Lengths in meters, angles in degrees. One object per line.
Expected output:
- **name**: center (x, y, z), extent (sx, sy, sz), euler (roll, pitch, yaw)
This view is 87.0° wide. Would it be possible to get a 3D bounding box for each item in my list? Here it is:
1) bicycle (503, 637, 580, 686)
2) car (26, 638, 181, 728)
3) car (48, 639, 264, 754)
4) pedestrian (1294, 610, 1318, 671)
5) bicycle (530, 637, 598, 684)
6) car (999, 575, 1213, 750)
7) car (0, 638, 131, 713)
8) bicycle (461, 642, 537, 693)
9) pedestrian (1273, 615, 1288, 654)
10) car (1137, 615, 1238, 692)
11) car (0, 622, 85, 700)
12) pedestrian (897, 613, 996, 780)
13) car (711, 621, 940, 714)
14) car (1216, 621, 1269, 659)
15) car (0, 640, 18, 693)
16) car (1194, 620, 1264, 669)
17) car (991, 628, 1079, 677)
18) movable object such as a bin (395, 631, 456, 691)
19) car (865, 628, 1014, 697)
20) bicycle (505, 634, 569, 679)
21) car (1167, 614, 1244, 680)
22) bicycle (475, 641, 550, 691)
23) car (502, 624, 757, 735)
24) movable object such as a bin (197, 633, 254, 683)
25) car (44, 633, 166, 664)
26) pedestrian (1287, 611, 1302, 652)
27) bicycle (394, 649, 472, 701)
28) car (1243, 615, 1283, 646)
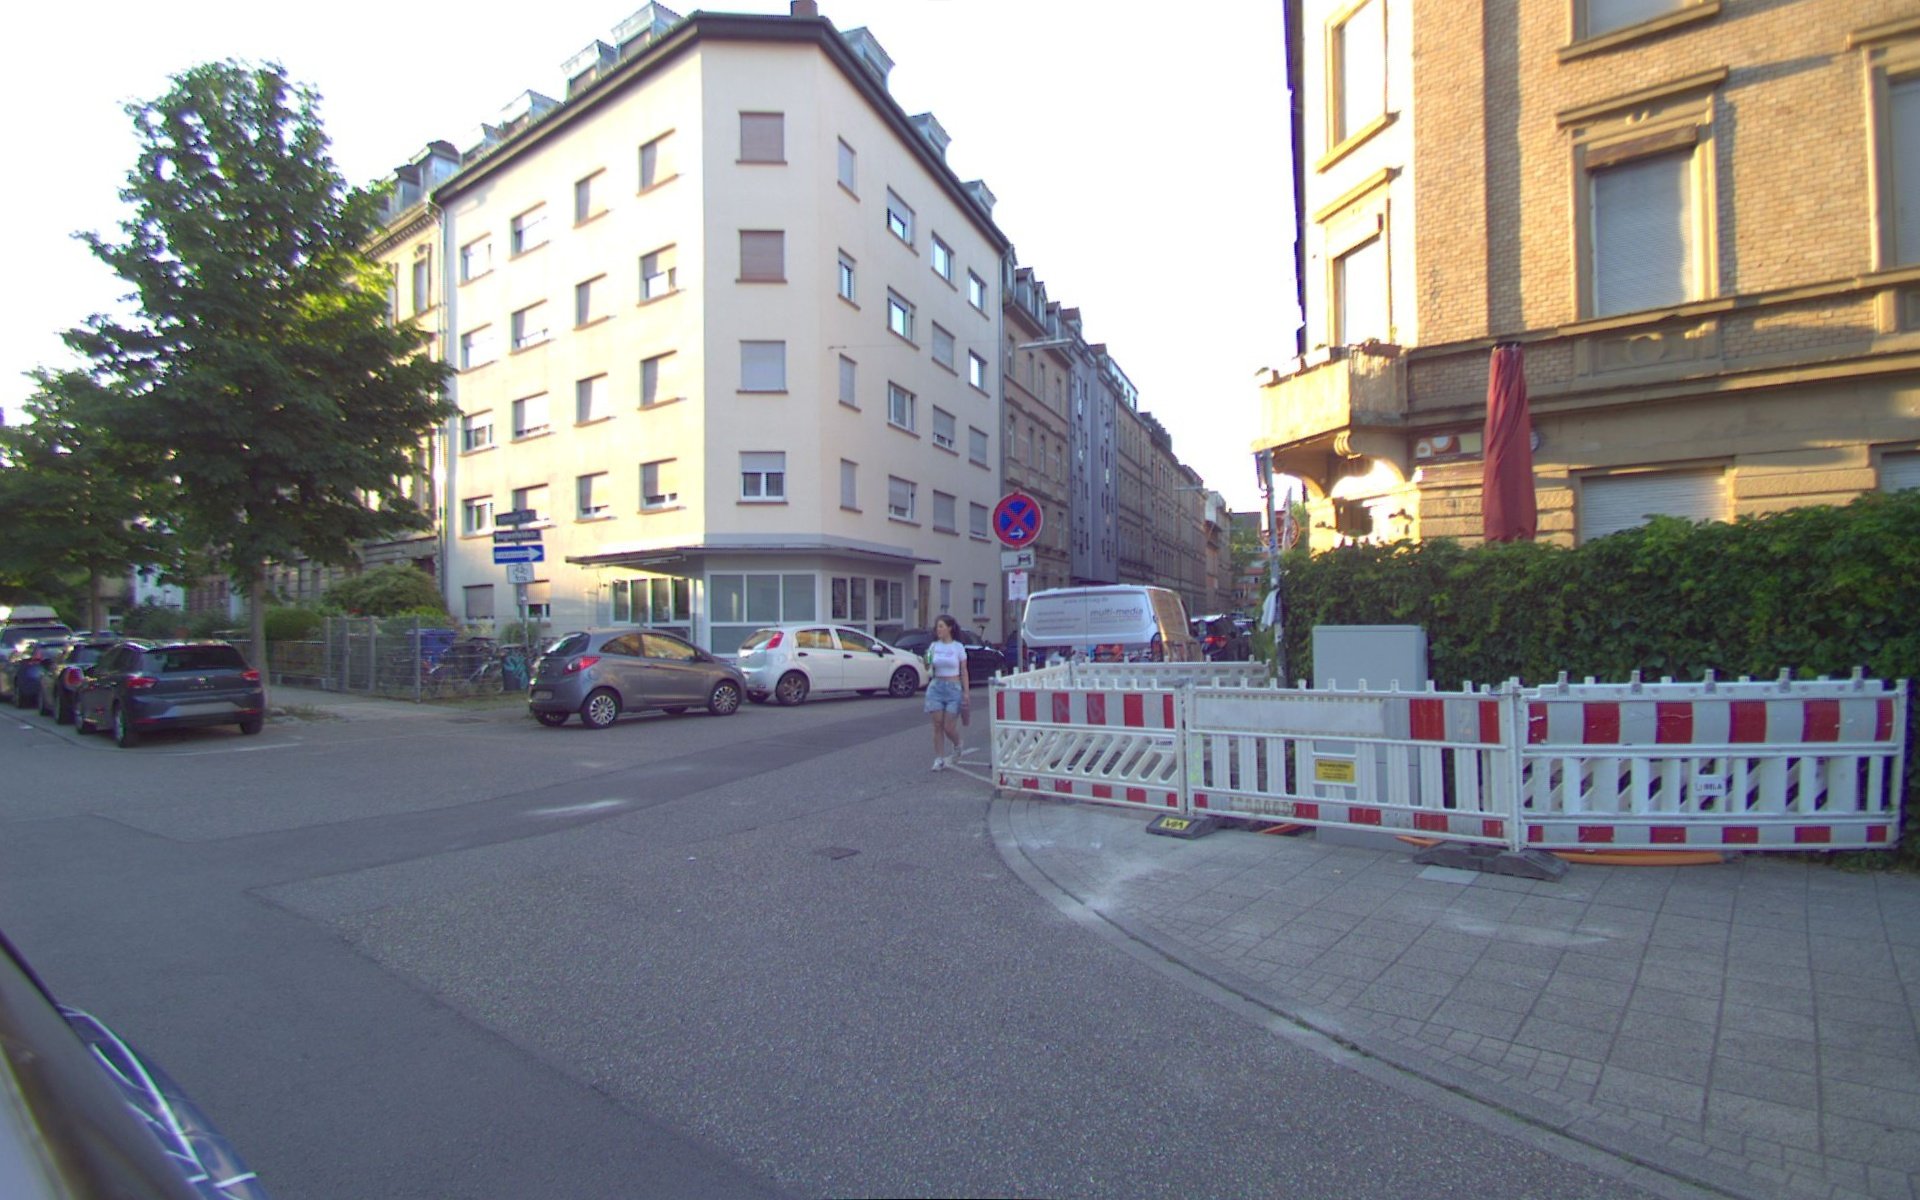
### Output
- **bicycle**: center (-9.970, 1.472, 24.146), extent (1.689, 1.100, 0.384), euler (-2, 0, 4)
- **car**: center (-15.961, 1.446, 18.788), extent (4.142, 1.431, 1.723), euler (-2, -1, 43)
- **car**: center (-12.409, 1.365, 15.520), extent (4.458, 1.473, 1.658), euler (-2, -1, 39)
- **pedestrian**: center (9.887, 1.152, 28.955), extent (0.589, 1.699, 0.495), euler (-2, 0, 18)
- **bicycle**: center (-10.225, 1.548, 26.189), extent (0.499, 1.100, 1.617), euler (-2, 0, 34)
- **car**: center (2.295, 0.790, 14.322), extent (2.190, 1.990, 5.264), euler (-2, -2, 17)
- **car**: center (-19.864, 1.573, 22.150), extent (4.586, 1.423, 1.843), euler (-2, -1, 40)
- **bicycle**: center (-10.567, 1.538, 23.214), extent (1.528, 1.100, 0.500), euler (-2, 0, 3)
- **pedestrian**: center (14.324, 1.549, 45.256), extent (0.589, 1.699, 0.495), euler (-2, 0, 18)
- **car**: center (5.251, 1.179, 22.992), extent (2.005, 1.583, 3.898), euler (-2, -2, 16)
- **car**: center (-23.668, 1.480, 25.408), extent (4.619, 1.792, 1.843), euler (-2, -1, 40)
- **pedestrian**: center (-0.131, 0.966, 10.480), extent (0.708, 1.630, 0.779), euler (-2, 0, 27)
- **car**: center (-2.608, 1.242, 19.981), extent (4.007, 1.520, 1.978), euler (-2, 0, -37)
- **car**: center (11.503, 1.603, 41.117), extent (1.774, 1.470, 3.973), euler (-2, -2, 20)
- **car**: center (-28.663, 1.905, 29.146), extent (4.020, 1.452, 1.711), euler (-2, -1, 39)
- **car**: center (8.672, 1.398, 32.409), extent (1.830, 1.438, 3.973), euler (-2, -2, 20)
- **car**: center (2.419, 1.631, 31.808), extent (1.860, 1.419, 3.976), euler (-2, -2, 18)
- **movable object such as a bin**: center (-13.043, 1.464, 24.683), extent (1.398, 1.362, 0.857), euler (-2, 0, 42)
- **car**: center (-0.386, 1.406, 23.768), extent (1.986, 1.450, 4.046), euler (-2, -2, 24)
- **bicycle**: center (-11.204, 1.475, 26.847), extent (0.499, 1.100, 1.531), euler (-2, 0, 34)
- **car**: center (6.665, 1.241, 27.272), extent (1.572, 1.635, 3.973), euler (-2, -2, 20)
- **bicycle**: center (-10.476, 1.532, 23.728), extent (1.528, 1.100, 0.500), euler (-2, 0, 3)
- **car**: center (-5.256, 1.199, 16.367), extent (1.843, 1.519, 3.471), euler (-3, -2, 40)
- **movable object such as a bin**: center (-21.785, 1.693, 30.002), extent (1.549, 1.398, 0.937), euler (-2, 0, 37)
- **car**: center (-41.821, 2.337, 49.580), extent (1.625, 1.351, 4.356), euler (-2, -1, 41)
- **pedestrian**: center (14.895, 1.392, 45.057), extent (0.589, 1.820, 0.495), euler (-2, 0, 18)
- **bicycle**: center (-11.436, 1.601, 21.936), extent (1.927, 1.033, 0.681), euler (-2, 0, 35)
- **car**: center (16.220, 1.636, 54.045), extent (1.875, 1.569, 3.975), euler (-2, -2, 19)
